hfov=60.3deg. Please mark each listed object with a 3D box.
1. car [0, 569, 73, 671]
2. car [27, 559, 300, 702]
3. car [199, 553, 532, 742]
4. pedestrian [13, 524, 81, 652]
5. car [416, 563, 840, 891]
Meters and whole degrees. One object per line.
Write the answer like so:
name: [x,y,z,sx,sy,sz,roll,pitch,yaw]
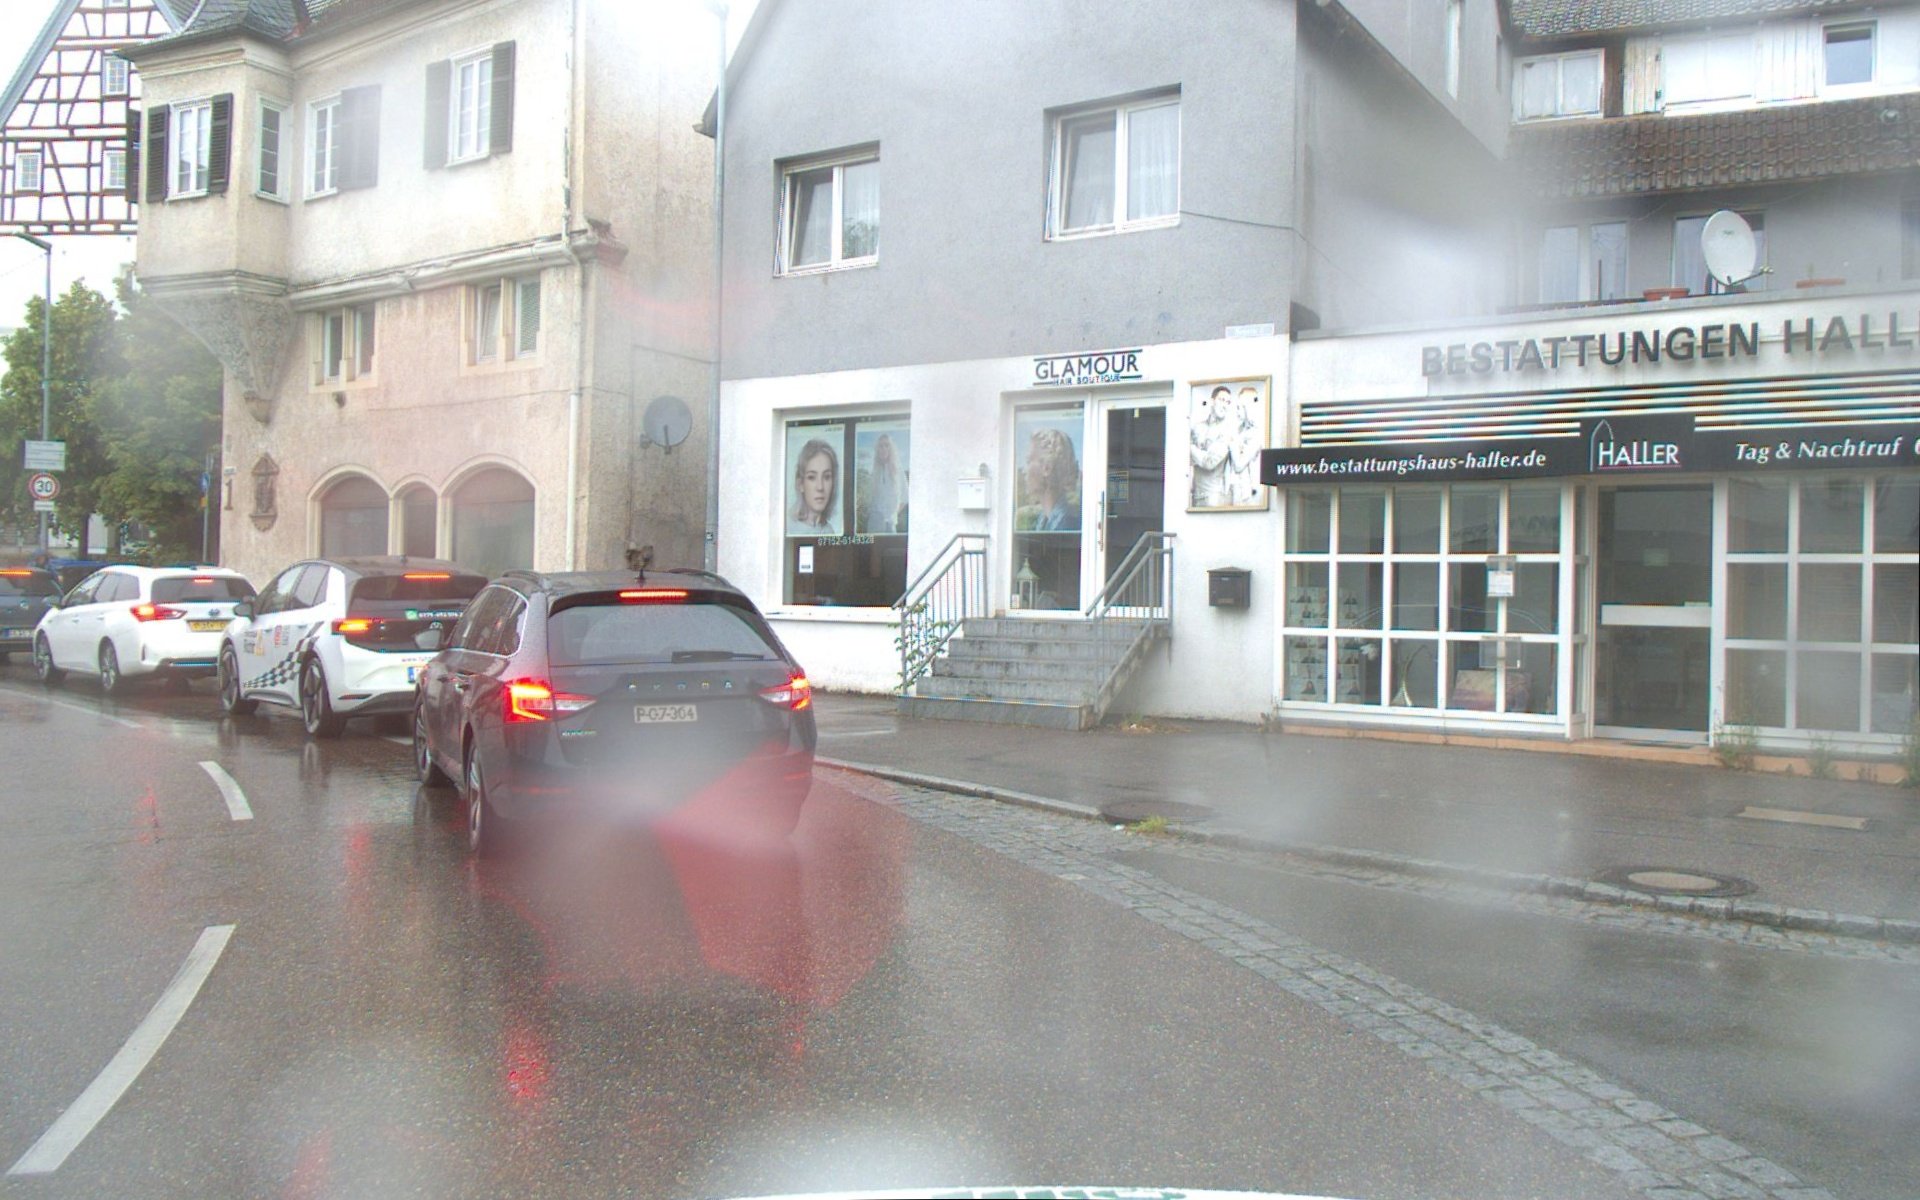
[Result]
car: [-14.901,0.251,24.969,3.701,1.385,1.514,2,3,42]
car: [-9.737,0.283,20.081,1.778,1.490,4.096,-1,3,-45]
car: [-5.784,0.348,15.780,1.777,1.543,4.183,-1,1,-38]
pedestrian: [-17.339,-0.228,31.401,0.861,2.367,1.211,0,0,-43]
car: [-2.204,0.541,9.961,1.709,1.475,4.212,0,2,-23]
